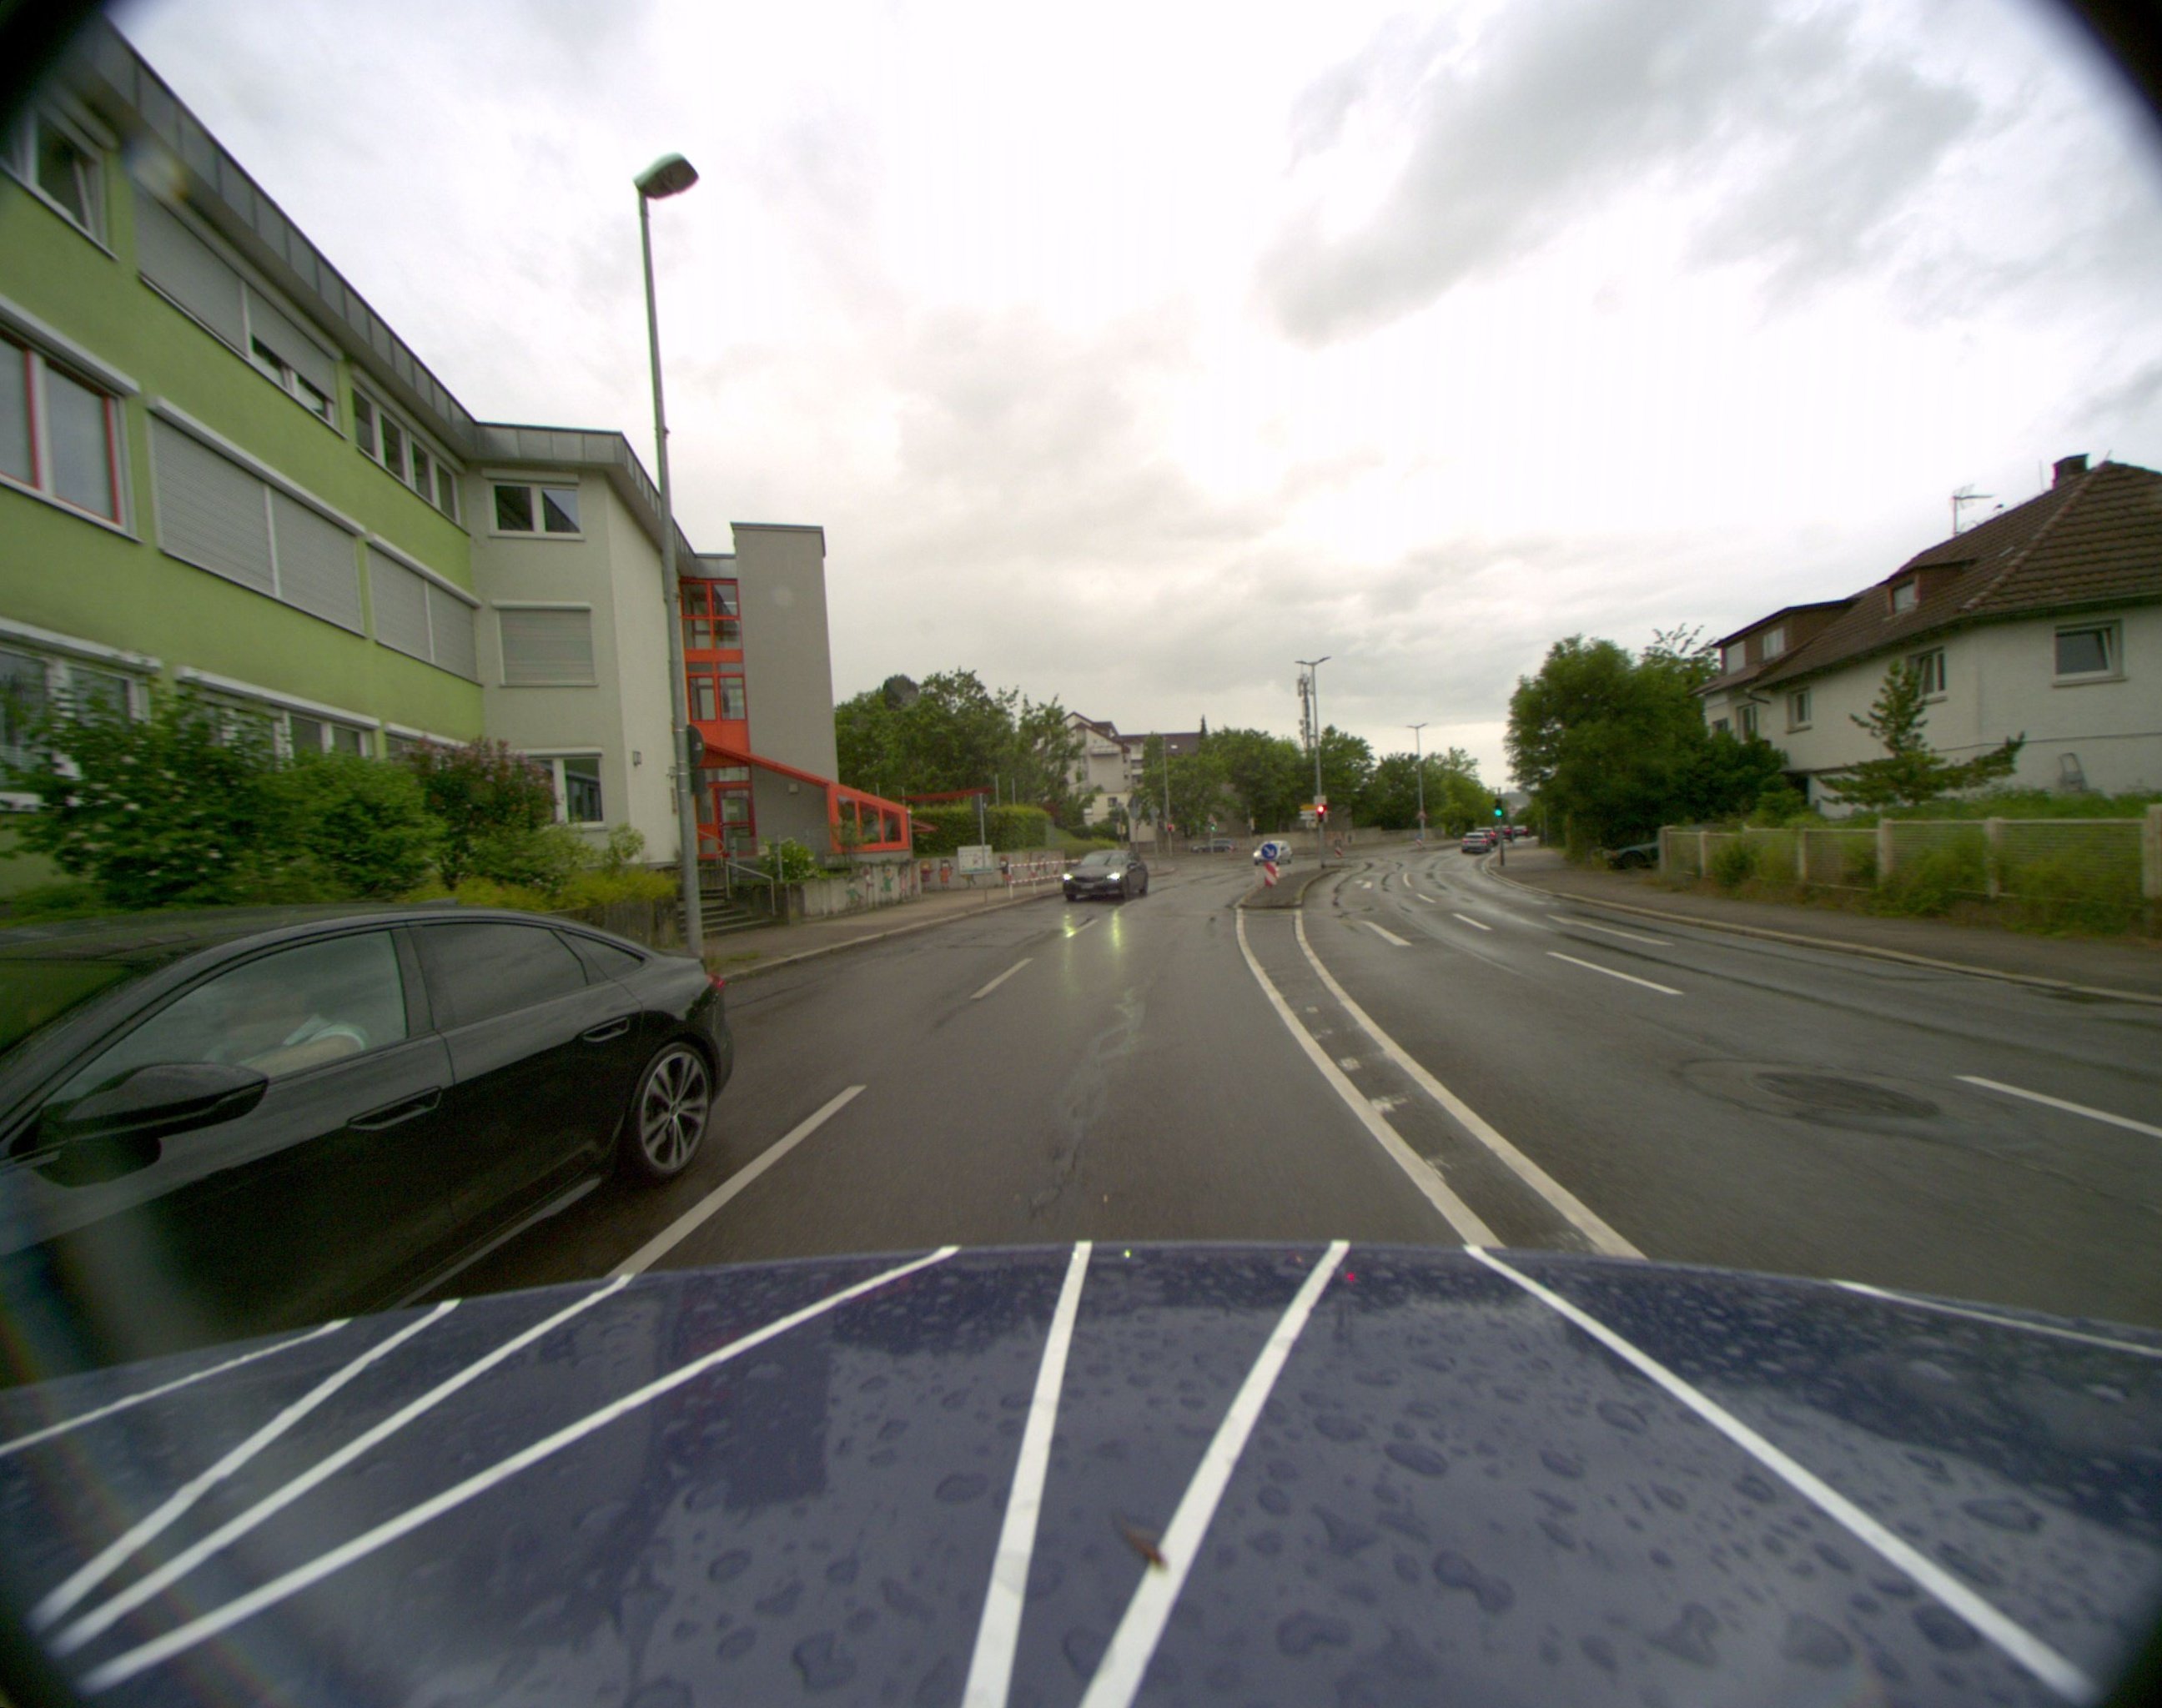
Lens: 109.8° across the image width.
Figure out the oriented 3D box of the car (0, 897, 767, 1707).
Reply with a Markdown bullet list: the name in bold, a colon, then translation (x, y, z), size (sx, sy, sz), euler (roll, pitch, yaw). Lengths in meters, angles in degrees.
- **car**: translation (-2.986, 1.097, 2.205), size (1.870, 1.416, 4.738), euler (-3, 2, 4)

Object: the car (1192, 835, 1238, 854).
- **car**: translation (13.736, -1.003, 78.071), size (4.224, 1.647, 1.999), euler (-3, 2, -3)

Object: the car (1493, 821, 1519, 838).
- **car**: translation (43.890, -2.538, 78.467), size (1.865, 1.545, 4.454), euler (1, 3, 35)

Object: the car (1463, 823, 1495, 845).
- **car**: translation (30.062, -1.509, 57.362), size (1.677, 1.442, 4.696), euler (-1, 3, 33)

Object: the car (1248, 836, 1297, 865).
- **car**: translation (12.705, -0.245, 50.258), size (1.995, 1.647, 4.006), euler (-1, 3, 30)

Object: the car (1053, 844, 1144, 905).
- **car**: translation (0.646, 0.555, 23.256), size (1.870, 1.511, 4.002), euler (-2, 2, 14)

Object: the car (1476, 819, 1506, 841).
- **car**: translation (36.432, -2.146, 67.494), size (1.883, 1.668, 4.238), euler (-1, 3, 35)

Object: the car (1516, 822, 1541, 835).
- **car**: translation (53.954, -3.101, 91.556), size (1.865, 1.468, 4.454), euler (1, 4, 41)

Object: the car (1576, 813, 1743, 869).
- **car**: translation (19.391, -0.435, 25.688), size (3.993, 1.386, 1.935), euler (-6, 0, 18)
